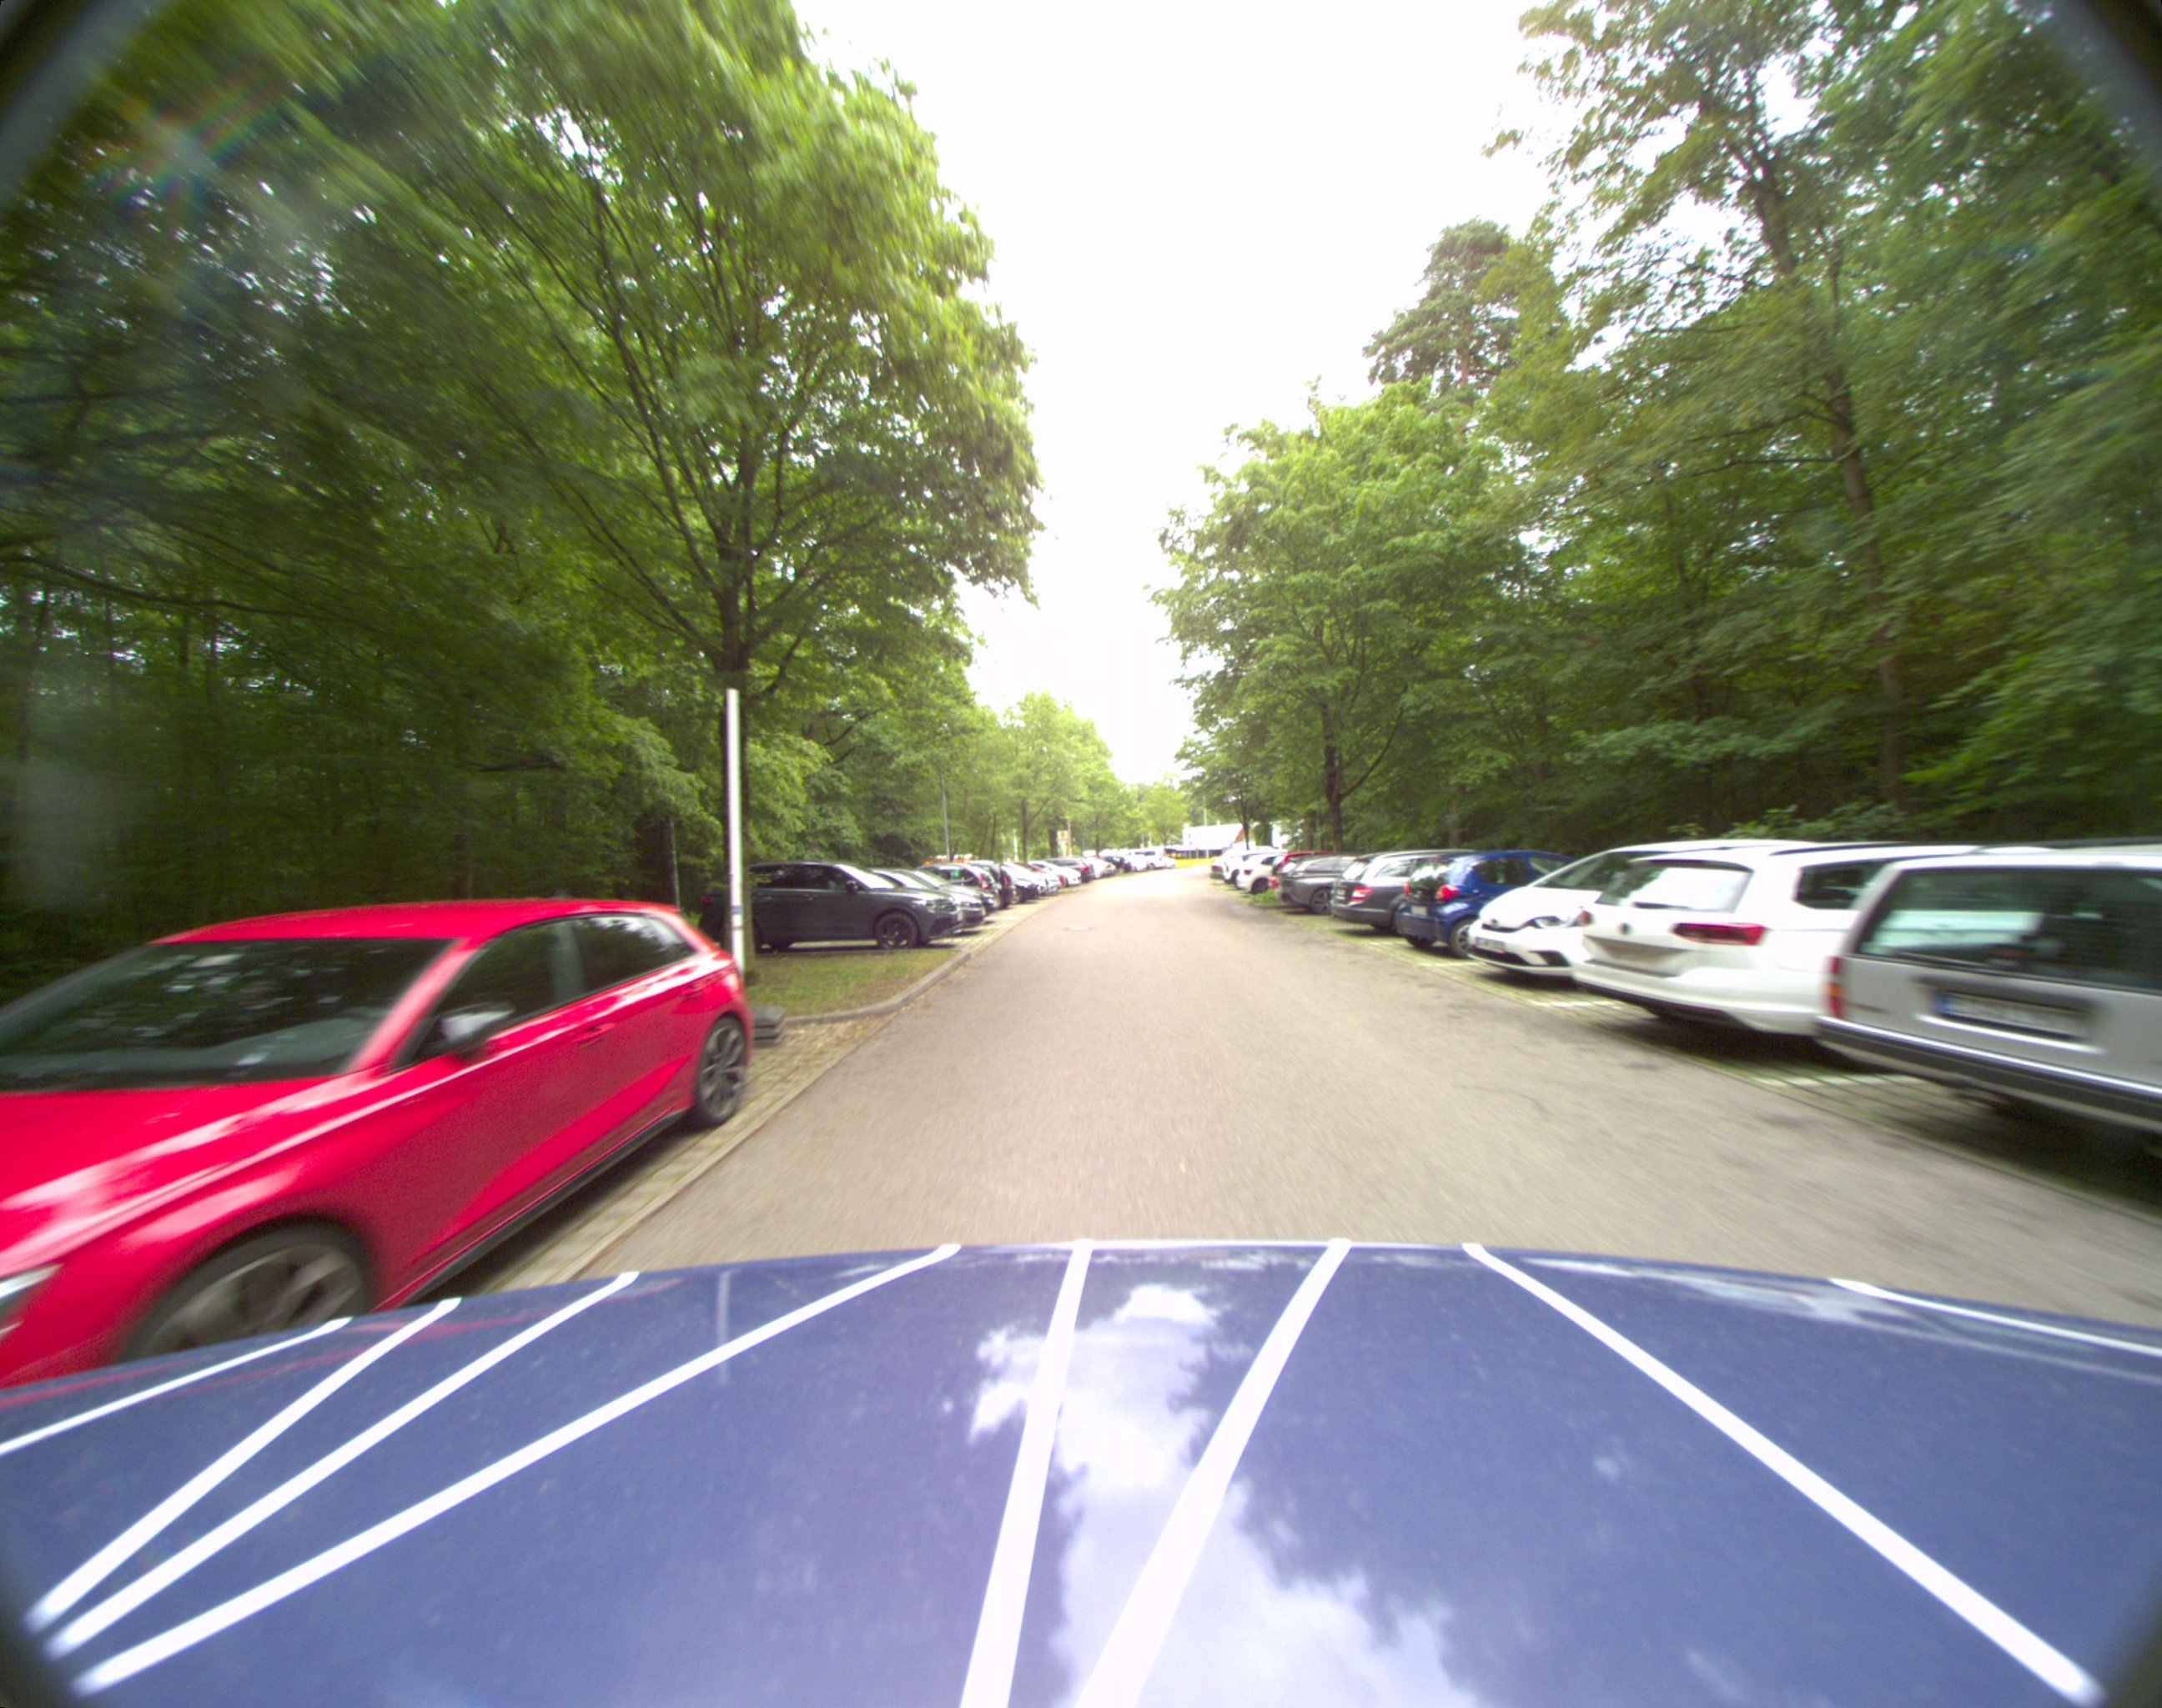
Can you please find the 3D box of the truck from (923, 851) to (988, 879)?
[{"bbox_3d":[-17.365,1.492,105.235,8.233,3.493,2.871,-2,-1,13],"label":"truck"}]

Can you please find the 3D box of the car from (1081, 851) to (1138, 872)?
[{"bbox_3d":[2.195,0.577,58.687,3.992,1.474,1.924,-2,0,15],"label":"car"}]

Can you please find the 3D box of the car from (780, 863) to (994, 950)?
[{"bbox_3d":[-3.951,1.048,16.099,3.998,1.542,1.975,-3,0,-3],"label":"car"}]

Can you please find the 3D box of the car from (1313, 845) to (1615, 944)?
[{"bbox_3d":[6.544,0.670,13.435,4.275,1.477,2.058,-2,0,4],"label":"car"}]

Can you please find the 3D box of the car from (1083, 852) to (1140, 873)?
[{"bbox_3d":[2.470,0.679,61.277,4.234,1.472,1.921,-2,0,15],"label":"car"}]

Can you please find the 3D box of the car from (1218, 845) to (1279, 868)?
[{"bbox_3d":[12.646,0.171,57.250,4.361,1.588,2.033,-2,1,15],"label":"car"}]

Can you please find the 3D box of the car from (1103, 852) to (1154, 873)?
[{"bbox_3d":[4.116,0.735,66.072,3.992,1.475,1.879,-4,1,17],"label":"car"}]

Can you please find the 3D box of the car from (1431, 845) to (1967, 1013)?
[{"bbox_3d":[6.467,0.715,8.329,4.377,1.477,1.891,-2,1,-2],"label":"car"}]

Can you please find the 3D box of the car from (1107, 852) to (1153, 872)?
[{"bbox_3d":[4.440,0.707,68.383,3.728,1.545,1.849,-4,-3,17],"label":"car"}]

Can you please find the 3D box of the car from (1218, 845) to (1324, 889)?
[{"bbox_3d":[7.566,0.521,30.366,3.966,1.618,2.000,-2,0,15],"label":"car"}]

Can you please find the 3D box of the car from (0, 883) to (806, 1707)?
[{"bbox_3d":[-3.132,0.997,3.232,1.998,1.470,4.971,-2,0,1],"label":"car"}]

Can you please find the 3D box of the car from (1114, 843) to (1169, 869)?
[{"bbox_3d":[5.623,0.209,70.824,4.655,2.008,2.086,-4,-2,19],"label":"car"}]

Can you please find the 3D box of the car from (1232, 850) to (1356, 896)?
[{"bbox_3d":[7.081,0.621,25.619,3.734,1.411,1.873,-2,0,6],"label":"car"}]

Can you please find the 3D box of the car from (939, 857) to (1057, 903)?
[{"bbox_3d":[-3.099,0.958,28.857,4.016,1.550,1.979,-3,0,8],"label":"car"}]

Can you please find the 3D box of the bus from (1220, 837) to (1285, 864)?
[{"bbox_3d":[22.509,-0.430,99.654,7.758,3.139,2.810,-2,-2,-11],"label":"bus"}]

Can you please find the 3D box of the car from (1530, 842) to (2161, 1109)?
[{"bbox_3d":[6.223,0.700,5.626,4.575,1.439,2.085,-2,0,-3],"label":"car"}]

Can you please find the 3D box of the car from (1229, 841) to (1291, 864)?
[{"bbox_3d":[15.672,-0.124,66.464,5.091,1.904,1.981,-2,0,20],"label":"car"}]

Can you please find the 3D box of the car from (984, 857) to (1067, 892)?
[{"bbox_3d":[-2.585,0.964,36.150,3.804,1.432,1.870,-2,0,-1],"label":"car"}]

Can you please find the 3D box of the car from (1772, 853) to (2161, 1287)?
[{"bbox_3d":[6.144,0.733,3.281,4.574,1.477,1.869,-2,0,1],"label":"car"}]

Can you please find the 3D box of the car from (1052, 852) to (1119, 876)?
[{"bbox_3d":[0.301,0.650,51.193,4.133,1.453,1.867,-2,1,13],"label":"car"}]

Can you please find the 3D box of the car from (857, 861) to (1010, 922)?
[{"bbox_3d":[-4.089,1.029,21.486,3.835,1.522,1.851,-1,0,4],"label":"car"}]

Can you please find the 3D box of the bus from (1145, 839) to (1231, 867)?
[{"bbox_3d":[13.804,-0.149,97.905,10.520,3.139,2.810,-2,-2,-11],"label":"bus"}]

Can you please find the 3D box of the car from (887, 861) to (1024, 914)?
[{"bbox_3d":[-3.847,1.015,23.715,3.835,1.449,1.809,-2,1,5],"label":"car"}]

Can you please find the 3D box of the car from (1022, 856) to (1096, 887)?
[{"bbox_3d":[-1.162,0.915,41.112,3.776,1.472,1.774,-2,0,6],"label":"car"}]

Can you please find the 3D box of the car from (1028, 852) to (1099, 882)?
[{"bbox_3d":[-0.972,0.747,44.315,3.774,1.580,1.951,-3,0,10],"label":"car"}]

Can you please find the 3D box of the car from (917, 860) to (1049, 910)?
[{"bbox_3d":[-3.308,1.044,26.332,4.197,1.503,1.894,-2,0,3],"label":"car"}]

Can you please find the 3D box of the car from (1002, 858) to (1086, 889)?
[{"bbox_3d":[-1.858,0.966,38.878,3.940,1.402,1.879,-3,0,8],"label":"car"}]

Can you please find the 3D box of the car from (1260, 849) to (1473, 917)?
[{"bbox_3d":[6.769,0.674,18.452,4.414,1.416,2.036,-2,0,5],"label":"car"}]

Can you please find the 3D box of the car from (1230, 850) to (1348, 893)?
[{"bbox_3d":[7.559,0.611,27.845,3.811,1.412,1.897,-2,0,2],"label":"car"}]

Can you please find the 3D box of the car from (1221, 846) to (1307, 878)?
[{"bbox_3d":[9.615,0.397,40.192,4.241,1.524,1.763,-2,0,7],"label":"car"}]

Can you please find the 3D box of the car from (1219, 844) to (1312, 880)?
[{"bbox_3d":[9.109,0.387,37.738,4.242,1.637,1.971,-2,0,6],"label":"car"}]

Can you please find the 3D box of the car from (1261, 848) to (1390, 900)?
[{"bbox_3d":[7.391,0.587,23.243,3.472,1.472,1.684,-1,1,5],"label":"car"}]

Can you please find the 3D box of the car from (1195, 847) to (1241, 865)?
[{"bbox_3d":[16.327,0.222,90.565,4.926,1.766,2.000,-3,-2,-4],"label":"car"}]

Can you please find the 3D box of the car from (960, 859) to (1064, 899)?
[{"bbox_3d":[-2.788,1.010,31.379,3.985,1.475,1.884,-2,0,3],"label":"car"}]

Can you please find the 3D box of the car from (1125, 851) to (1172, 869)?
[{"bbox_3d":[6.529,0.573,73.397,4.001,1.546,1.950,-4,-1,25],"label":"car"}]

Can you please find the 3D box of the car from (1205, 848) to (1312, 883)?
[{"bbox_3d":[8.214,0.512,35.545,4.648,1.469,2.096,-2,0,8],"label":"car"}]

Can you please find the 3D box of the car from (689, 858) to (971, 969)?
[{"bbox_3d":[-4.302,0.992,13.535,4.276,1.656,1.958,-2,0,3],"label":"car"}]

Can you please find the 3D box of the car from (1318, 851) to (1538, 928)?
[{"bbox_3d":[7.075,0.703,15.822,3.764,1.379,1.757,-2,0,6],"label":"car"}]

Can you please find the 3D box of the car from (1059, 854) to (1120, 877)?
[{"bbox_3d":[0.623,0.803,53.866,3.994,1.441,1.942,-2,0,11],"label":"car"}]

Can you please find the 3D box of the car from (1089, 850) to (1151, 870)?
[{"bbox_3d":[3.278,0.483,63.850,4.777,1.467,1.855,-2,-1,18],"label":"car"}]

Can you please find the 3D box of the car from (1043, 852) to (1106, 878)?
[{"bbox_3d":[-0.421,0.684,48.911,3.708,1.502,1.752,-2,1,11],"label":"car"}]

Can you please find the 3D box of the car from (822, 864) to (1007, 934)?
[{"bbox_3d":[-4.012,1.076,18.750,3.996,1.466,1.953,-2,0,4],"label":"car"}]

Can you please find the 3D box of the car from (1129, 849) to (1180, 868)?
[{"bbox_3d":[7.321,0.412,75.769,4.524,1.683,2.169,-2,0,24],"label":"car"}]

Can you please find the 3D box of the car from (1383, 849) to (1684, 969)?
[{"bbox_3d":[6.229,0.714,10.745,3.226,1.436,1.680,-2,0,0],"label":"car"}]
